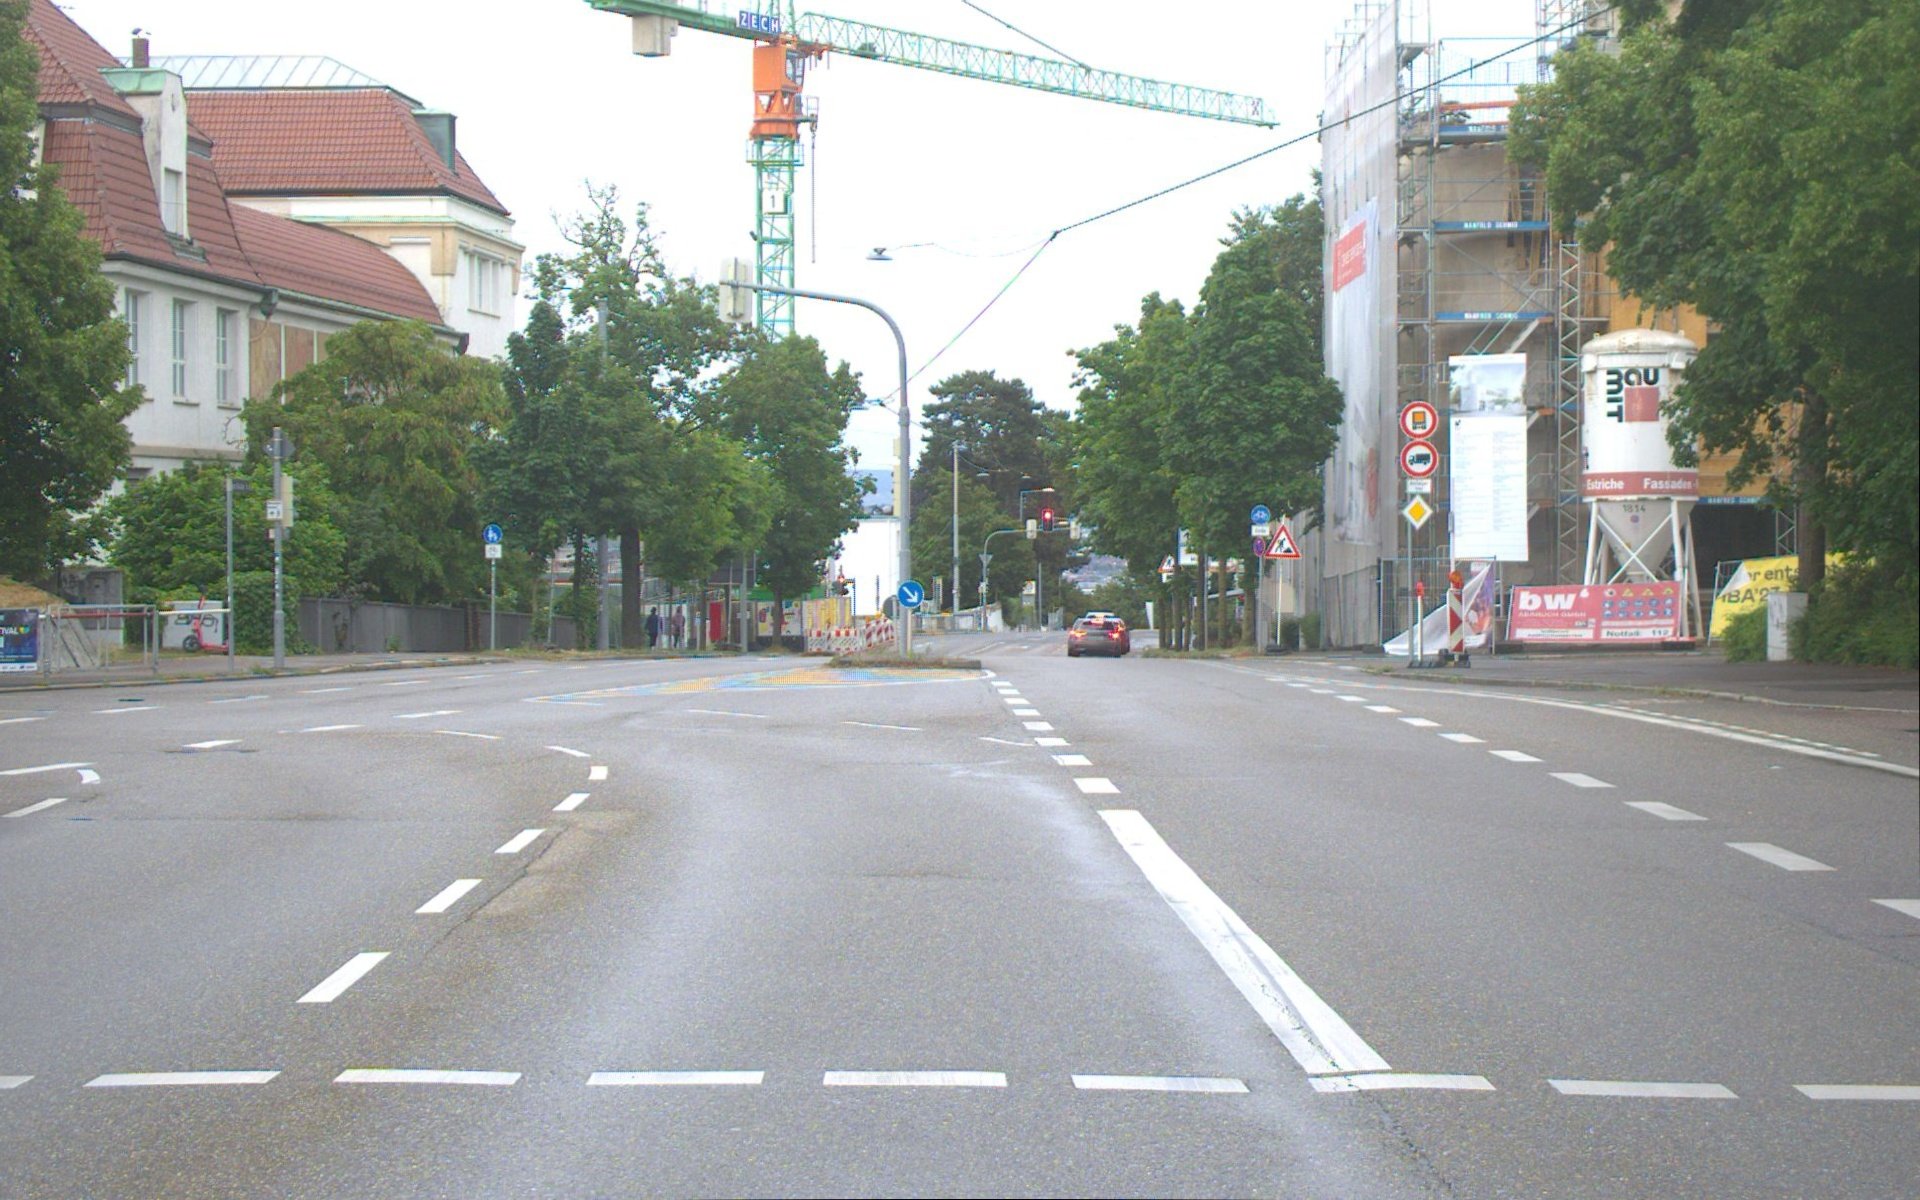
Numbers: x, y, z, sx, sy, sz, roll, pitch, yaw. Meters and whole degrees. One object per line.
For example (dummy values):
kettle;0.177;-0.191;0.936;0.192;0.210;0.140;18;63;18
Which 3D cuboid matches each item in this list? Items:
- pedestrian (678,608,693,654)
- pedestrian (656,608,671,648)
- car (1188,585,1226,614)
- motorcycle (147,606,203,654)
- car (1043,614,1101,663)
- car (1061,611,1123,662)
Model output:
pedestrian;-9.762;1.094;122.221;0.493;1.640;0.534;1;0;-6
pedestrian;-10.526;0.994;122.102;0.474;1.391;0.411;-1;1;-1
car;15.753;-0.030;219.318;1.994;1.744;3.998;-1;1;11
motorcycle;-14.741;0.555;64.535;0.849;0.874;0.877;1;0;-1
car;4.249;1.450;130.849;1.993;1.744;4.000;-1;1;-1
car;4.790;1.307;124.944;1.993;1.744;4.000;-1;1;-1
